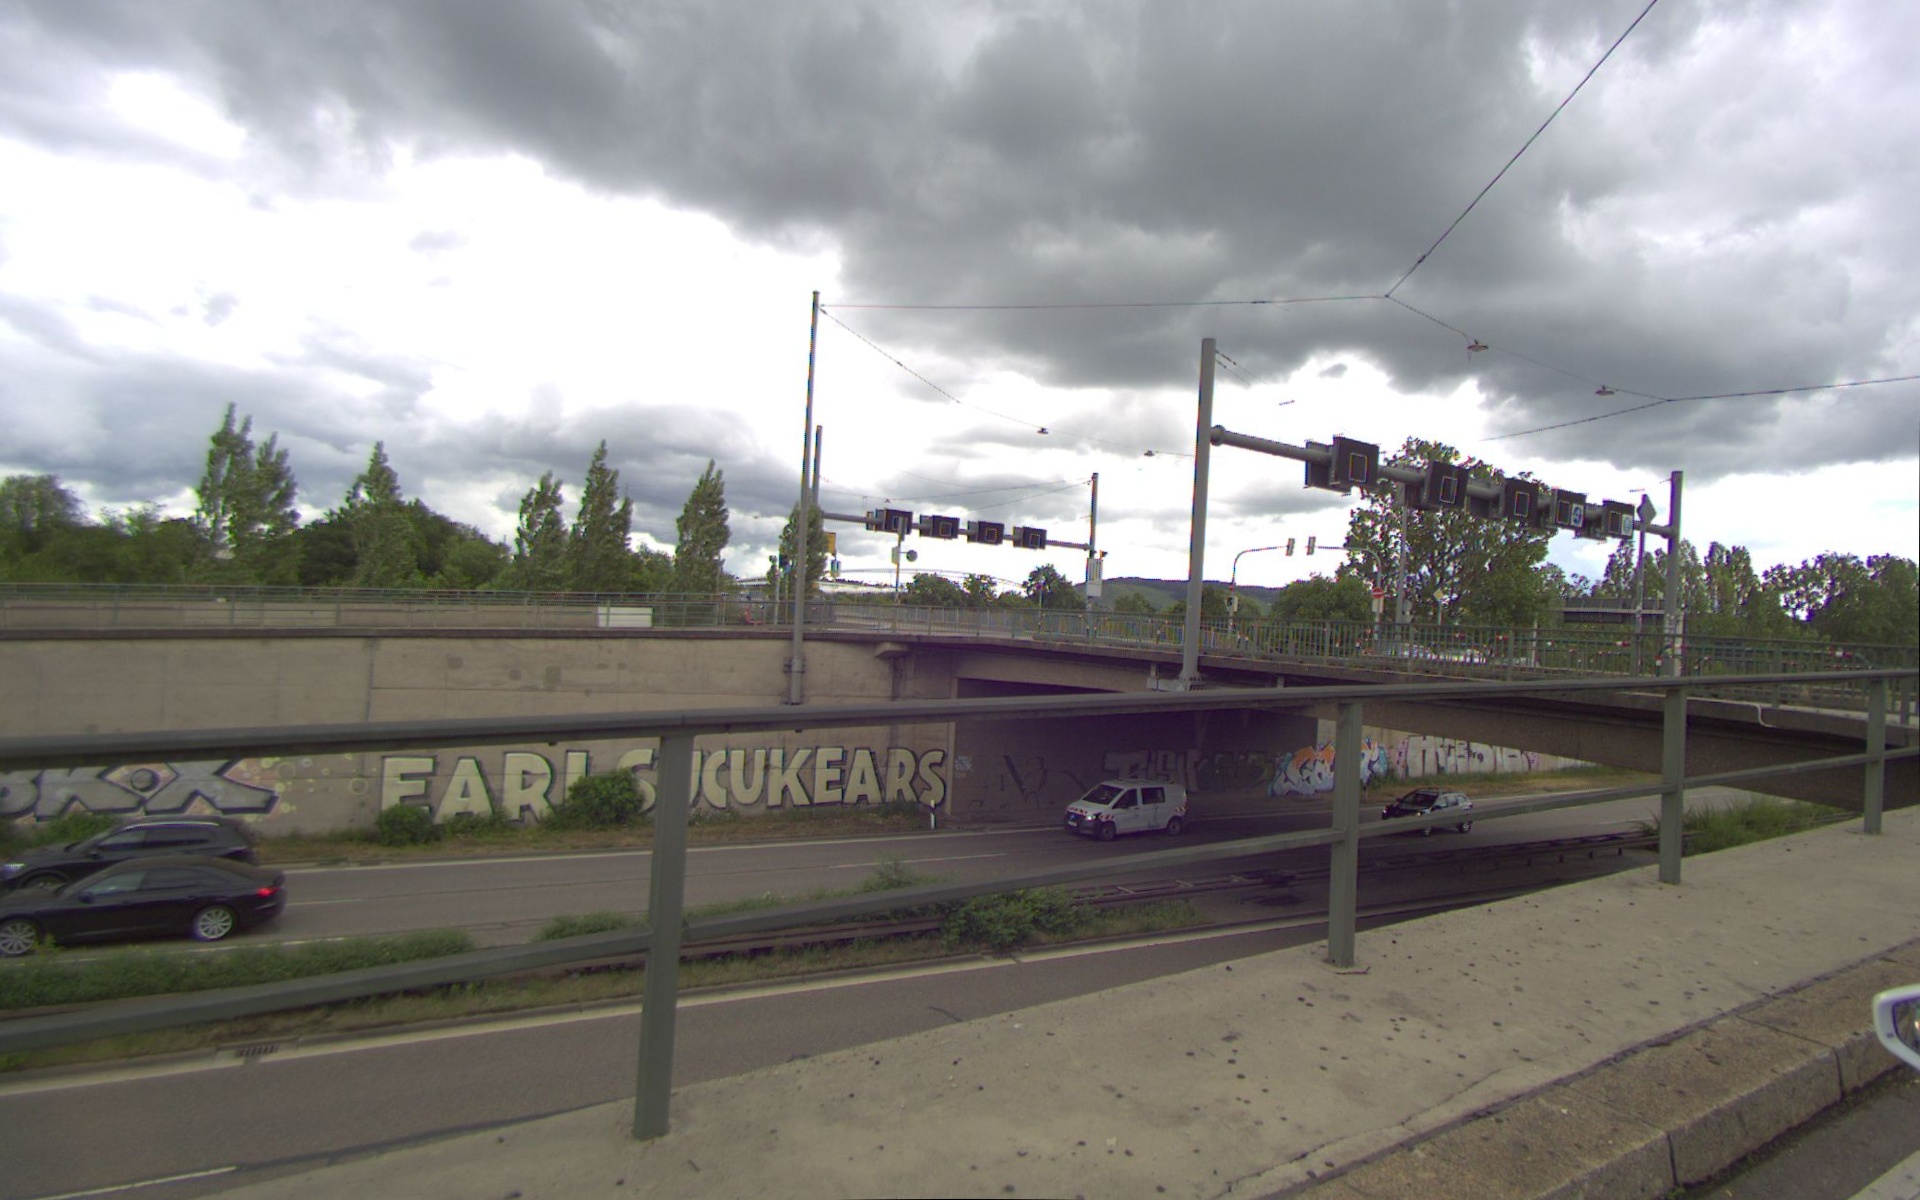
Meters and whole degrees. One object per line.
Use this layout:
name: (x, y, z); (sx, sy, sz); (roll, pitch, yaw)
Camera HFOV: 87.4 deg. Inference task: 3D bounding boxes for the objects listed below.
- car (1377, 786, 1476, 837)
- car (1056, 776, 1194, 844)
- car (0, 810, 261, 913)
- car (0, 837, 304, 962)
car: (18.791, 8.467, 40.430); (3.954, 1.641, 1.657); (4, -4, -30)
car: (6.031, 7.552, 36.544); (4.857, 1.932, 1.937); (4, -3, -32)
car: (-18.473, 5.728, 22.349); (4.526, 1.647, 1.984); (4, -4, -30)
car: (-15.812, 5.801, 19.865); (4.526, 1.647, 1.984); (4, -4, -30)
